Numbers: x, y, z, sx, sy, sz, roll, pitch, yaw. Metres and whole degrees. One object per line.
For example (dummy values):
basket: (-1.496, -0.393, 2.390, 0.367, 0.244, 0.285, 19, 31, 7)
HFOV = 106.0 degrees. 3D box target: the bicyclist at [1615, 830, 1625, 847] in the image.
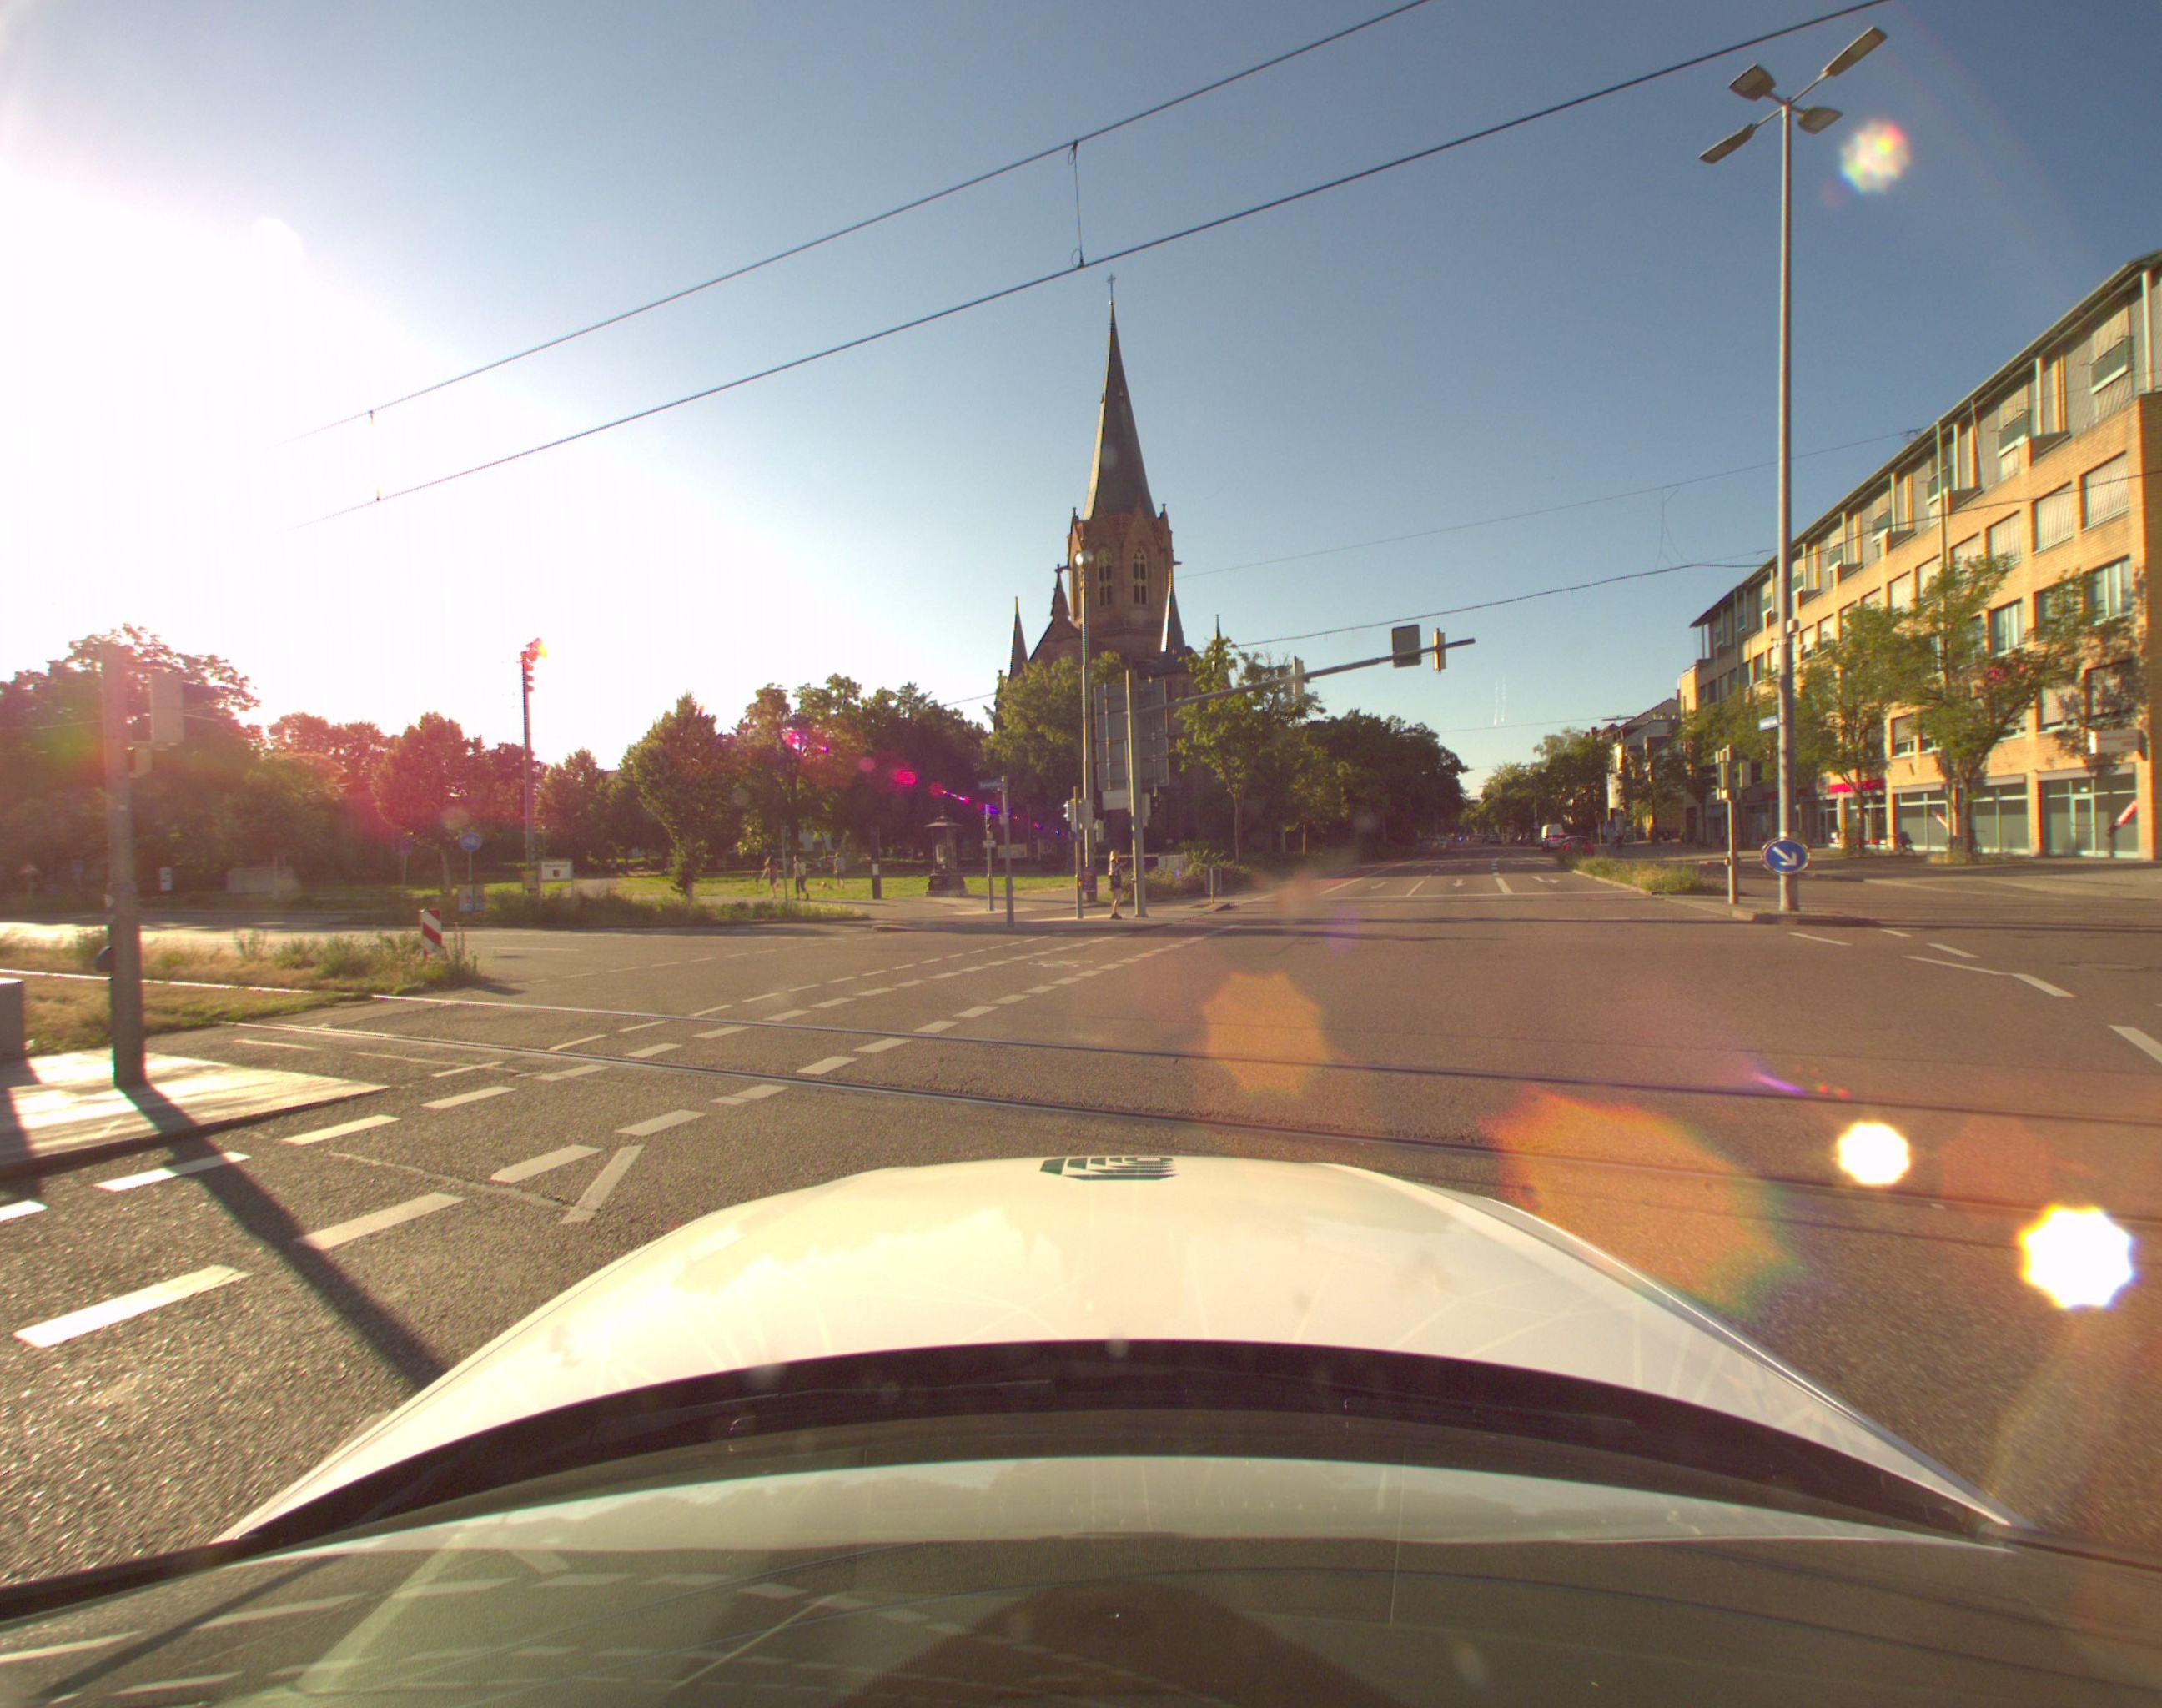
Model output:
bicyclist: (44.378, -1.285, 67.042, 0.586, 1.369, 0.935, 0, 2, 25)

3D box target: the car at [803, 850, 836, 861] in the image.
car: (-40.502, 0.194, 126.059, 4.418, 1.571, 2.008, -2, 0, 13)

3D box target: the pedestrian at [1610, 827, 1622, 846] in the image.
pedestrian: (52.678, -1.703, 80.241, 0.840, 1.803, 0.780, -2, 0, 25)

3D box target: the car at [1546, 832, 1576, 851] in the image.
car: (41.788, -1.064, 70.973, 1.899, 1.607, 4.294, 0, 1, 25)

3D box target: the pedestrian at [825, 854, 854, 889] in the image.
pedestrian: (-11.931, 0.837, 40.227, 1.004, 1.696, 0.849, 0, 1, 25)

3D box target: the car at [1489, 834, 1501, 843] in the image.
car: (66.546, -2.526, 130.874, 1.580, 1.267, 3.286, -2, 1, 25)

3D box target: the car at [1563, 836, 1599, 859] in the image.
car: (34.074, -0.451, 55.533, 1.654, 1.462, 4.023, 0, 1, 25)

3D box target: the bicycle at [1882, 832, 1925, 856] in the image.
bicycle: (36.899, -0.454, 36.560, 0.640, 0.994, 2.093, -2, 0, 24)

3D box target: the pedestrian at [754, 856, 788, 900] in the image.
pedestrian: (-12.503, 0.951, 32.845, 1.004, 1.696, 0.850, 0, 1, 40)

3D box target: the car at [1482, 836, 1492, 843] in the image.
car: (73.426, -2.639, 147.410, 1.580, 1.267, 3.286, -2, 1, 25)

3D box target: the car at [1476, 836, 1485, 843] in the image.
car: (80.964, -2.890, 165.013, 1.580, 1.267, 3.286, -2, 1, 25)

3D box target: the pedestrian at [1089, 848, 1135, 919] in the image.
pedestrian: (0.805, 0.733, 20.771, 0.802, 1.739, 0.974, -2, 0, 26)

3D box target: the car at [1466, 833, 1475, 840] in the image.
car: (93.162, -4.086, 194.713, 1.869, 1.671, 4.024, 0, 1, 25)

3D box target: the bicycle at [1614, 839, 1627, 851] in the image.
bicycle: (44.385, -0.747, 67.049, 0.586, 0.943, 1.990, 0, 2, 25)

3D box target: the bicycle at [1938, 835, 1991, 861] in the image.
bicycle: (34.917, -0.245, 32.224, 0.640, 0.994, 2.093, -2, 0, 24)

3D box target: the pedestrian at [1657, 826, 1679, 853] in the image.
pedestrian: (44.029, -1.093, 61.112, 1.097, 1.976, 1.168, -2, 0, 25)

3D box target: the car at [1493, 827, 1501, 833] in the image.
car: (100.108, -5.738, 196.184, 1.580, 1.267, 3.286, -2, 1, 25)

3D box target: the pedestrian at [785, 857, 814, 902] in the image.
pedestrian: (-10.948, 0.961, 31.682, 0.714, 1.696, 0.885, -1, 1, -45)

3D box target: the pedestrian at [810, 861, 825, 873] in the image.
pedestrian: (-21.839, 1.049, 67.534, 0.798, 0.953, 1.176, -1, 1, 4)

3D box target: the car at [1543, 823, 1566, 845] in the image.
car: (54.851, -2.312, 94.465, 1.975, 2.440, 4.024, 0, 1, 25)

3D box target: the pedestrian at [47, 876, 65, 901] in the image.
pedestrian: (-76.842, 2.584, 61.055, 0.528, 1.822, 0.690, -2, 0, 29)
